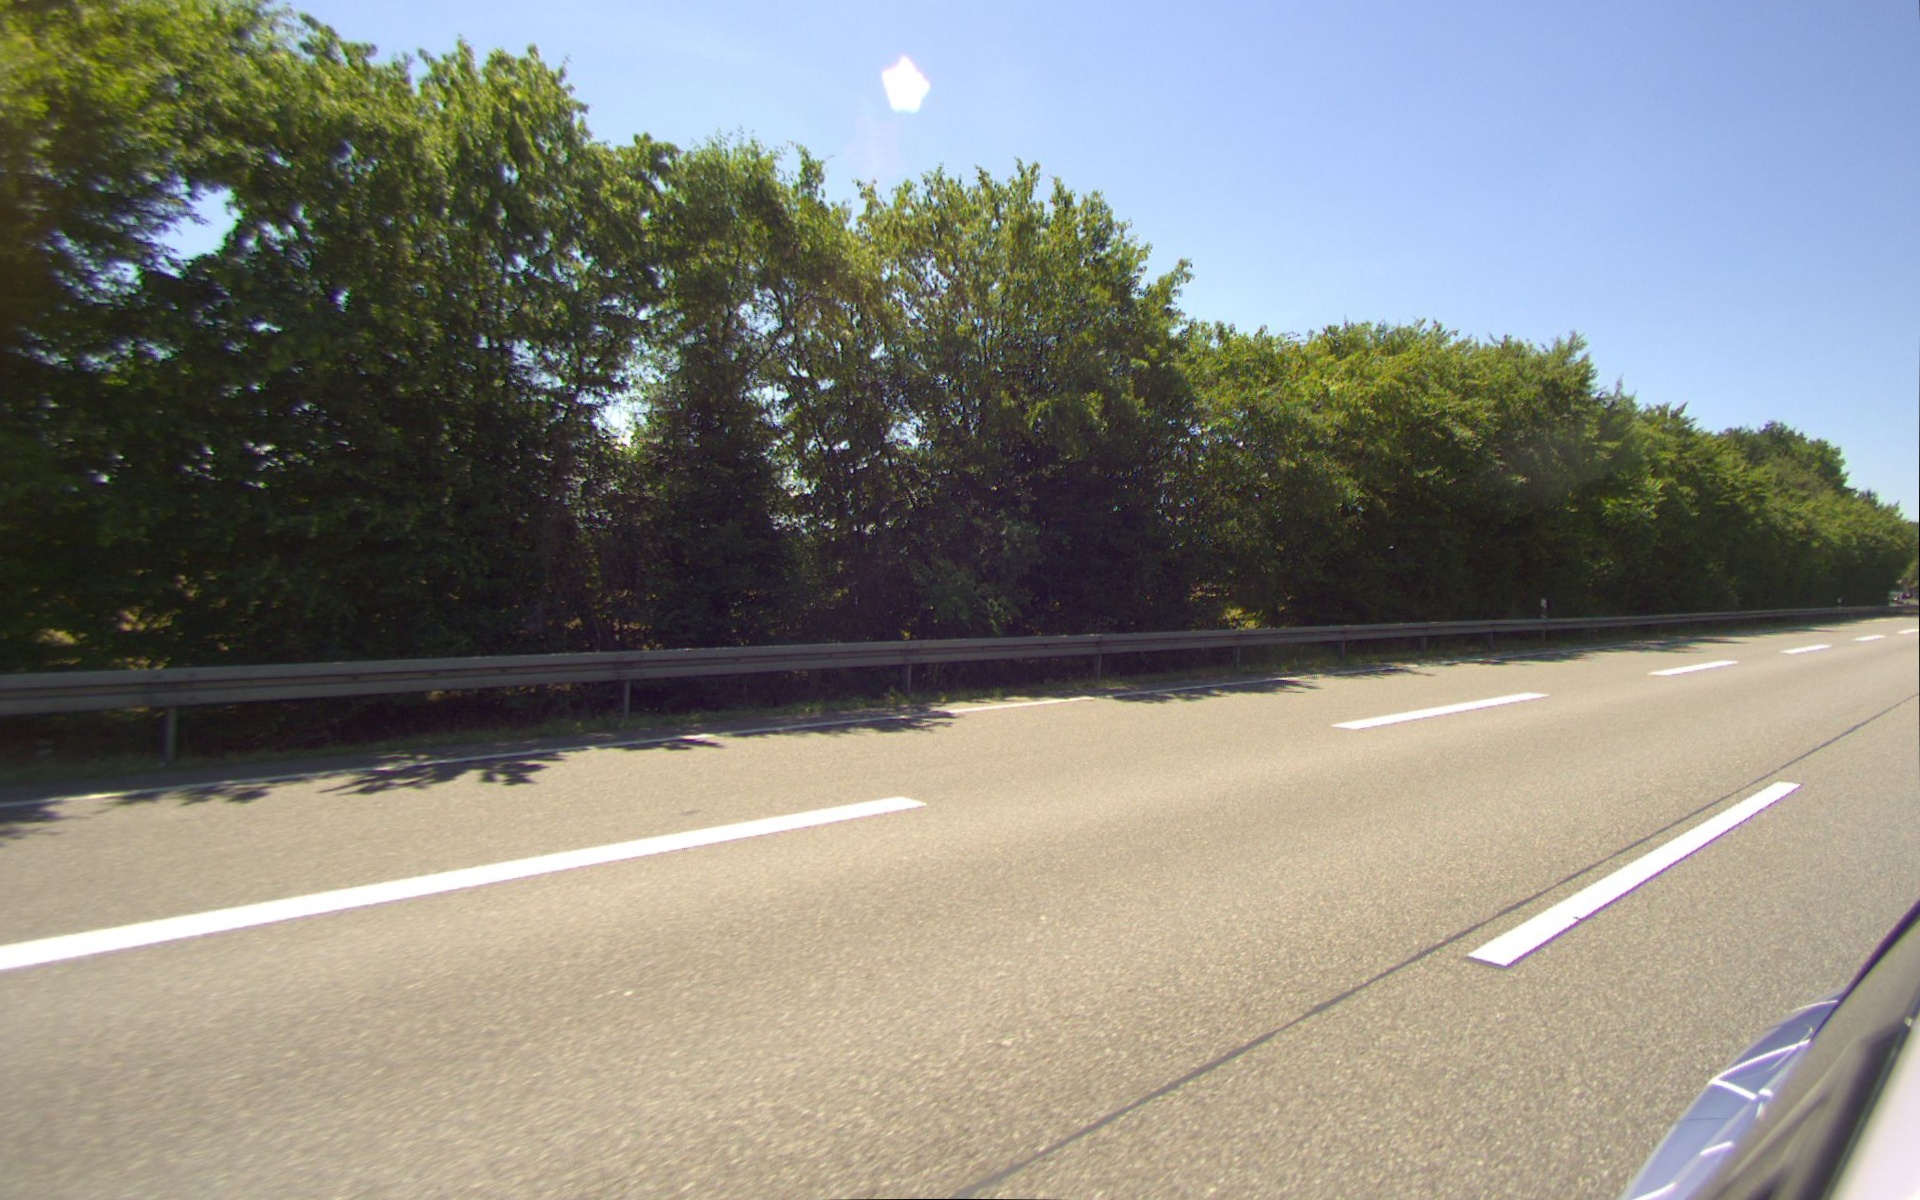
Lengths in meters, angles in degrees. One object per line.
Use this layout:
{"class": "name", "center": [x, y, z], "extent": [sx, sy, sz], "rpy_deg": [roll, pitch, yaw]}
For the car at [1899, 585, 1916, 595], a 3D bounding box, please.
{"class": "car", "center": [166.627, -1.735, 178.023], "extent": [1.995, 1.731, 4.604], "rpy_deg": [5, 4, 44]}
